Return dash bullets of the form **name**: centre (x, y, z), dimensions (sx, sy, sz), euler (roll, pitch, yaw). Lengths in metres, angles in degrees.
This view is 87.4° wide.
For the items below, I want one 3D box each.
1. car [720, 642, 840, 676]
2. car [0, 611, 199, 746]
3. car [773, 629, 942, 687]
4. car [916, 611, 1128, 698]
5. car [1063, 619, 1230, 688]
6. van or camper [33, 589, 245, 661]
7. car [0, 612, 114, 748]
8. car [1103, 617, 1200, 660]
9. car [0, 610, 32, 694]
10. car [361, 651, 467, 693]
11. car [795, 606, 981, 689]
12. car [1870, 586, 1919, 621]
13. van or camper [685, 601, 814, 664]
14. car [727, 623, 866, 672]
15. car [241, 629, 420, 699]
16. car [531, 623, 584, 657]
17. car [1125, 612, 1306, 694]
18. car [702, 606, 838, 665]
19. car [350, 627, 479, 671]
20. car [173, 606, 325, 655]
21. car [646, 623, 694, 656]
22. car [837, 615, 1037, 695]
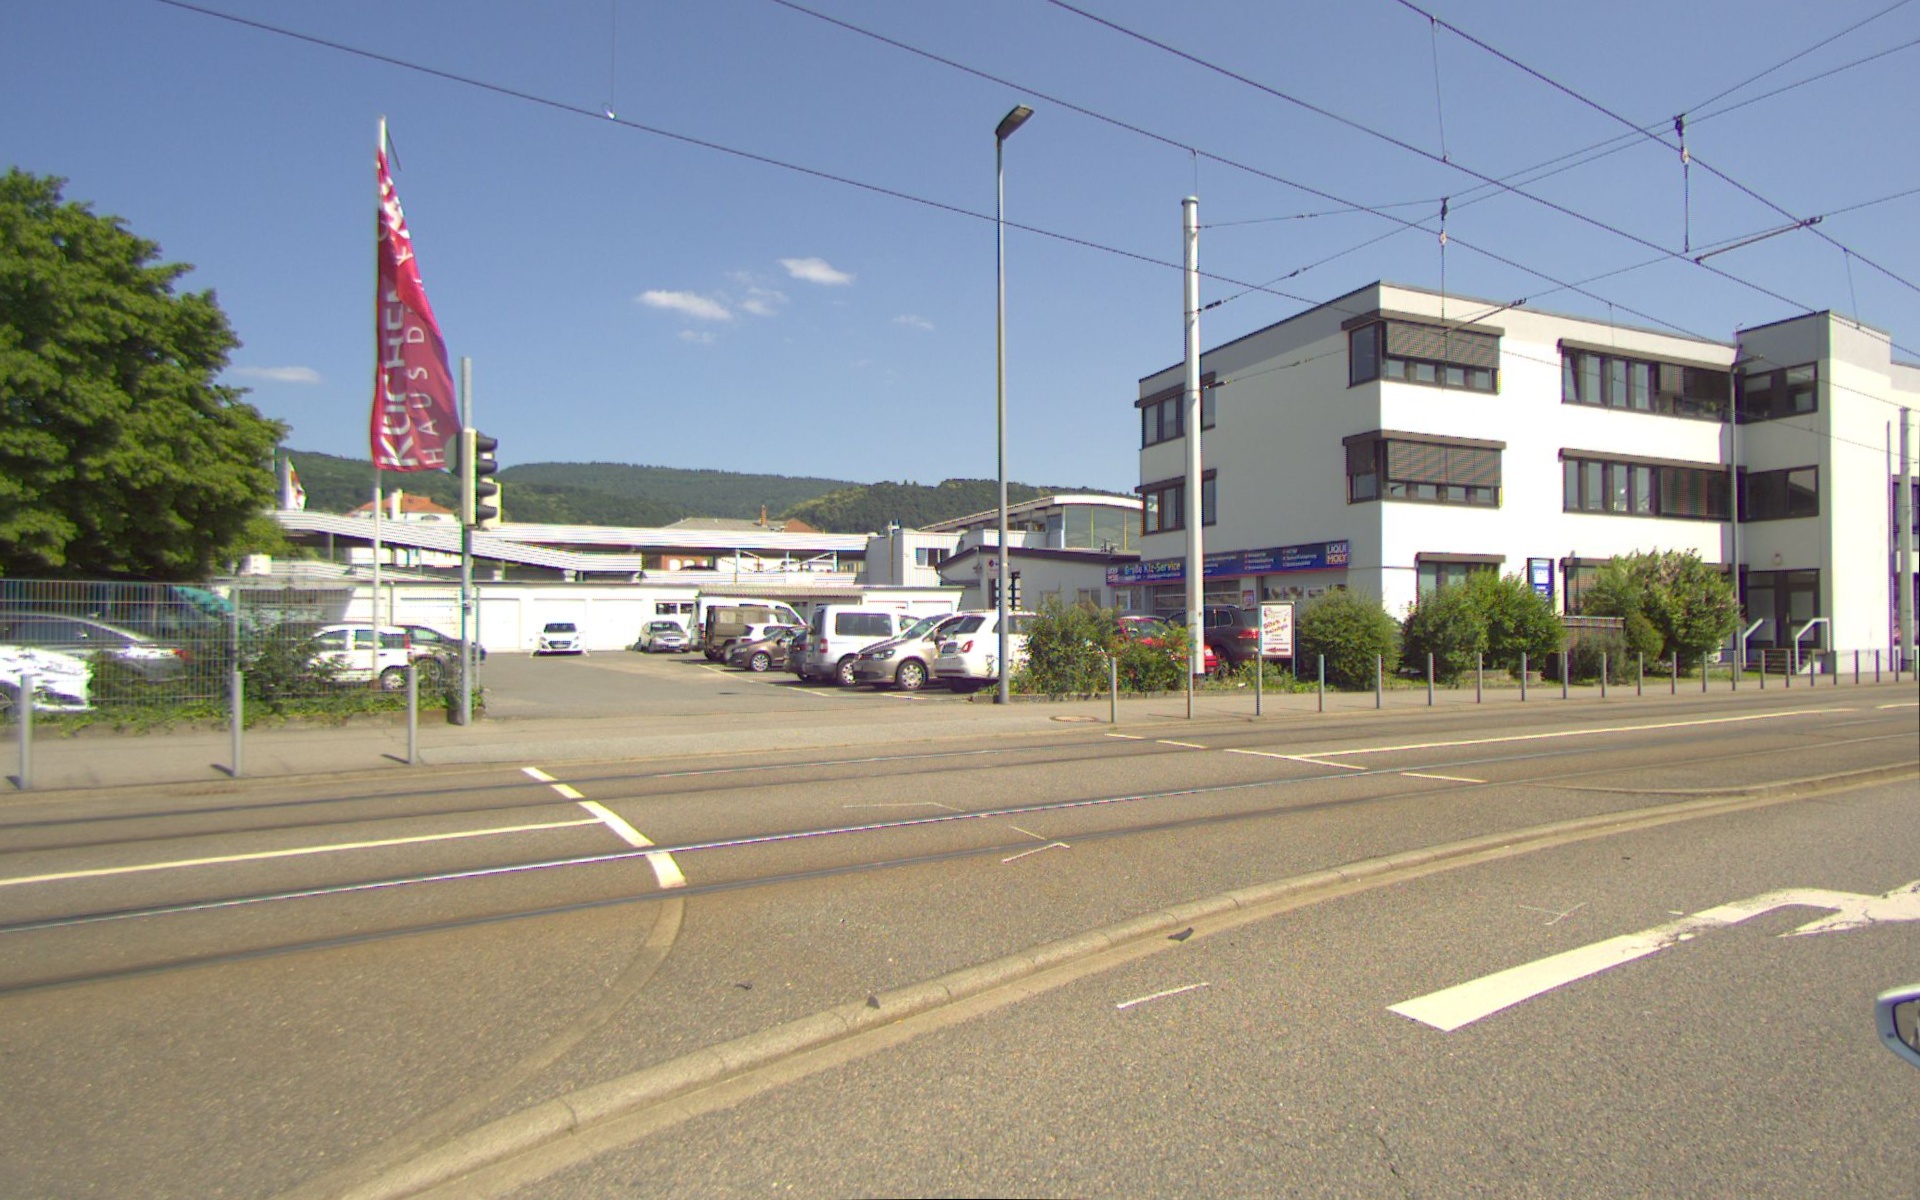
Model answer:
- **car**: centre (-5.638, 1.825, 31.470), dimensions (3.437, 0.996, 1.740), euler (1, -2, -23)
- **car**: centre (-12.724, 1.041, 13.335), dimensions (3.781, 1.643, 1.760), euler (-2, 0, -23)
- **car**: centre (-2.613, 1.440, 25.552), dimensions (3.942, 1.376, 1.838), euler (1, -2, -23)
- **car**: centre (1.214, 1.034, 19.687), dimensions (3.782, 1.562, 1.731), euler (1, -2, -24)
- **car**: centre (4.026, 1.130, 22.270), dimensions (1.725, 1.388, 3.810), euler (1, -2, -27)
- **van or camper**: centre (-24.814, 0.774, 30.593), dimensions (4.580, 2.034, 1.988), euler (1, -2, -25)
- **car**: centre (-11.898, 0.840, 10.872), dimensions (3.910, 1.452, 1.699), euler (2, -1, -31)
- **car**: centre (6.699, 1.354, 35.178), dimensions (3.083, 1.445, 1.416), euler (1, -2, -19)
- **car**: centre (-20.537, 1.123, 19.151), dimensions (3.794, 1.614, 1.840), euler (-4, 1, -33)
- **car**: centre (-13.853, 1.807, 25.497), dimensions (2.292, 0.959, 1.278), euler (1, -2, -33)
- **car**: centre (-1.705, 1.084, 23.532), dimensions (3.942, 1.808, 1.990), euler (1, -2, -23)
- **car**: centre (44.298, 0.135, 45.609), dimensions (1.974, 1.539, 3.973), euler (-2, 0, -26)
- **van or camper**: centre (-8.094, 1.246, 38.698), dimensions (4.542, 2.336, 1.769), euler (1, -1, -27)
- **car**: centre (-5.617, 1.606, 34.546), dimensions (4.364, 1.578, 1.980), euler (1, -2, -24)
- **car**: centre (-14.272, 1.415, 22.957), dimensions (3.351, 1.504, 1.505), euler (1, -2, -31)
- **car**: centre (-17.801, 1.765, 44.544), dimensions (1.969, 1.435, 3.984), euler (1, -2, -19)
- **car**: centre (5.878, 1.209, 23.562), dimensions (1.975, 1.728, 3.972), euler (1, -2, -28)
- **car**: centre (-6.896, 1.289, 36.431), dimensions (4.517, 2.040, 2.046), euler (1, -2, -25)
- **car**: centre (-19.785, 1.748, 36.641), dimensions (3.944, 1.531, 1.989), euler (1, -2, -24)
- **car**: centre (-24.140, 1.054, 34.295), dimensions (3.950, 1.576, 1.986), euler (1, -2, -28)
- **car**: centre (-13.446, 1.794, 46.459), dimensions (1.969, 1.435, 3.984), euler (1, -2, -19)
- **car**: centre (-0.493, 1.136, 21.410), dimensions (3.879, 1.588, 1.847), euler (1, -2, -23)
